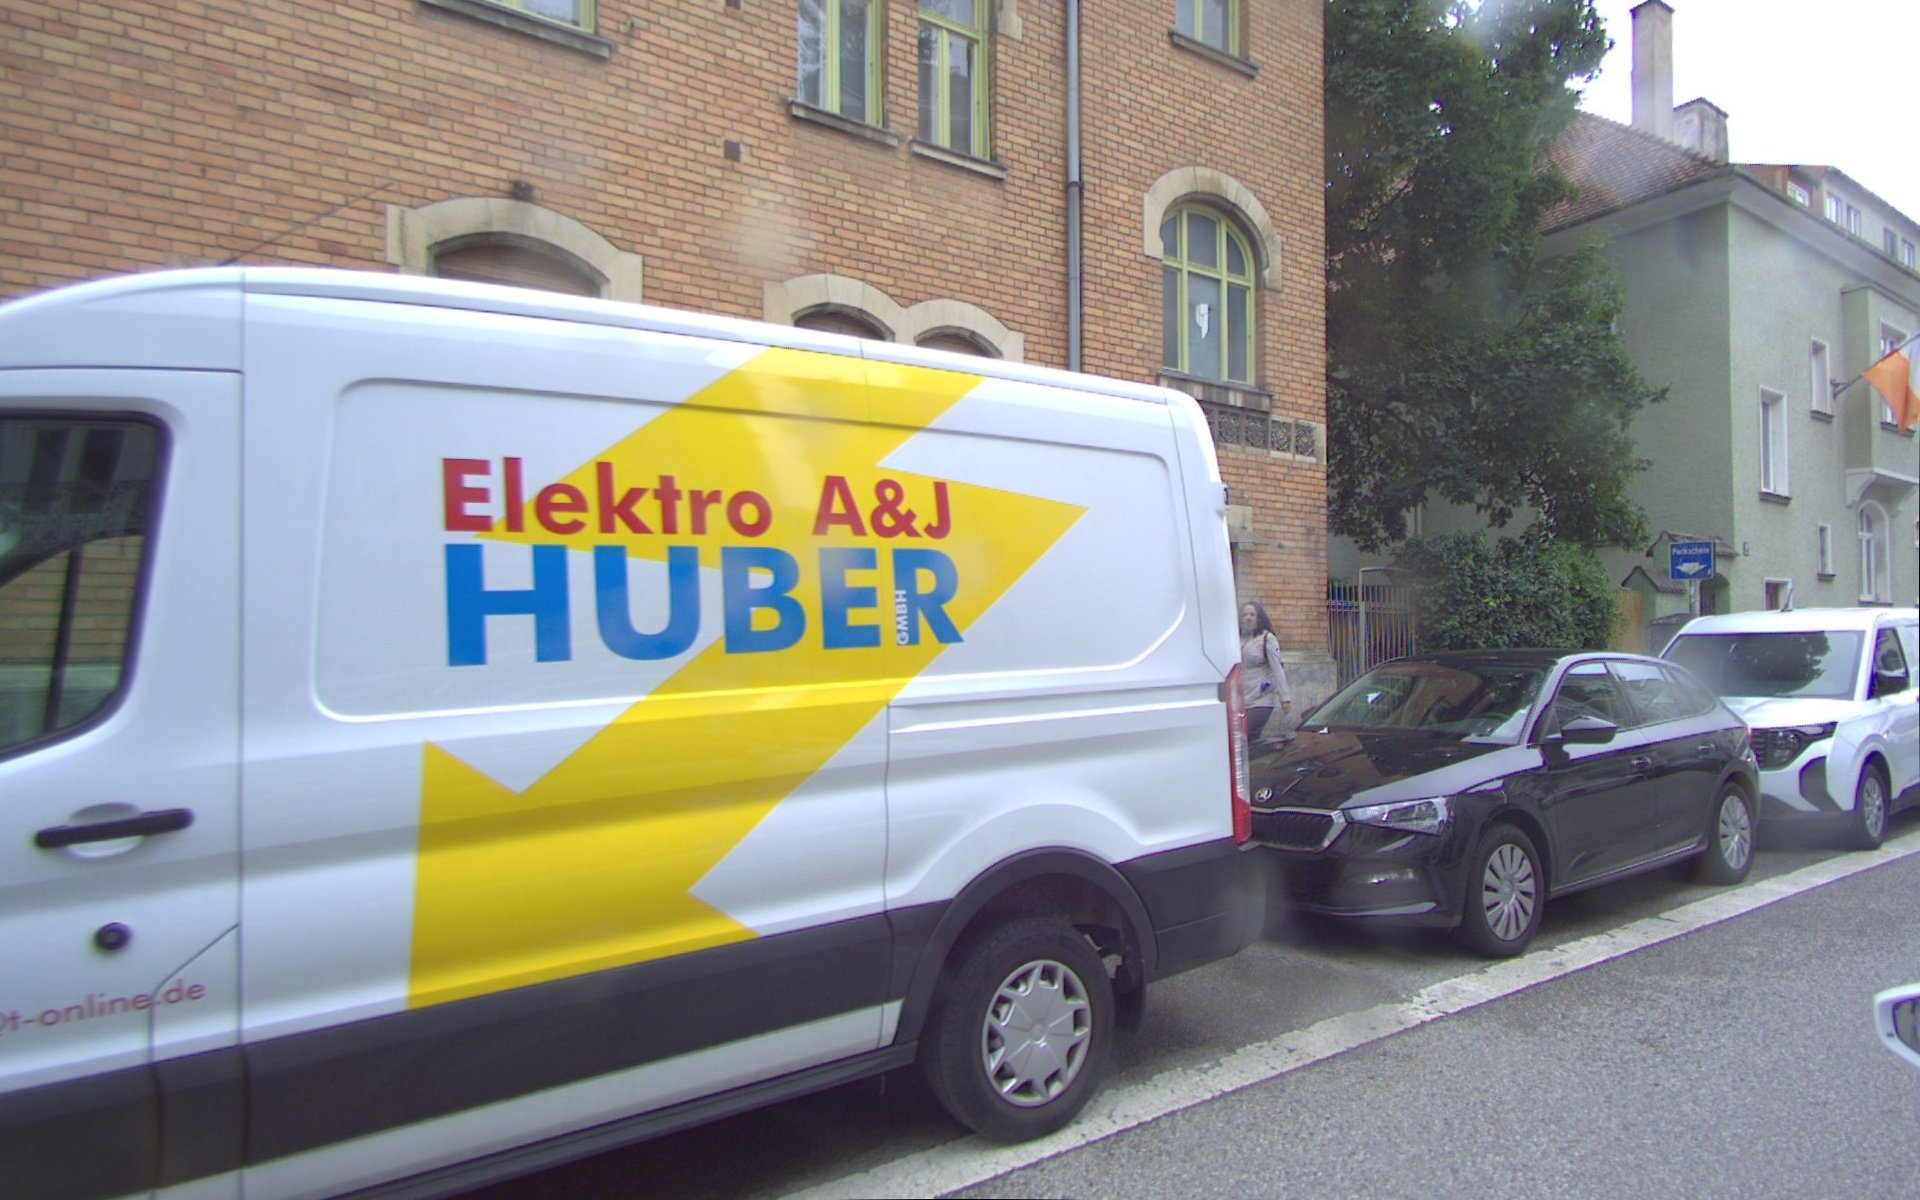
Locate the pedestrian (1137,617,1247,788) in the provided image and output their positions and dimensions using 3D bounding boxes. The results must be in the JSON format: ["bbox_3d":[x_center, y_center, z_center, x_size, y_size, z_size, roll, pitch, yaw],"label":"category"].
[{"bbox_3d":[2.206,0.944,9.584,0.719,1.533,0.692,2,0,-29],"label":"pedestrian"}]

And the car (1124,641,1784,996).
[{"bbox_3d":[3.101,1.007,6.055,4.100,1.461,1.681,1,-4,-33],"label":"car"}]

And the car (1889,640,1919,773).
[{"bbox_3d":[12.409,1.202,11.788,3.279,1.485,1.465,1,-4,-34],"label":"car"}]

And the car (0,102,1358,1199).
[{"bbox_3d":[-1.268,0.435,3.180,5.164,2.510,1.972,1,-4,-32],"label":"car"}]

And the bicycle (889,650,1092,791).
[{"bbox_3d":[0.298,1.043,9.121,1.807,1.143,0.628,1,-2,-32],"label":"bicycle"}]

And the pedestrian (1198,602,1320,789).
[{"bbox_3d":[2.603,0.802,8.773,0.719,1.533,0.692,2,0,-29],"label":"pedestrian"}]

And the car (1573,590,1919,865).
[{"bbox_3d":[7.152,0.933,8.565,4.102,1.827,1.680,1,-4,-34],"label":"car"}]
